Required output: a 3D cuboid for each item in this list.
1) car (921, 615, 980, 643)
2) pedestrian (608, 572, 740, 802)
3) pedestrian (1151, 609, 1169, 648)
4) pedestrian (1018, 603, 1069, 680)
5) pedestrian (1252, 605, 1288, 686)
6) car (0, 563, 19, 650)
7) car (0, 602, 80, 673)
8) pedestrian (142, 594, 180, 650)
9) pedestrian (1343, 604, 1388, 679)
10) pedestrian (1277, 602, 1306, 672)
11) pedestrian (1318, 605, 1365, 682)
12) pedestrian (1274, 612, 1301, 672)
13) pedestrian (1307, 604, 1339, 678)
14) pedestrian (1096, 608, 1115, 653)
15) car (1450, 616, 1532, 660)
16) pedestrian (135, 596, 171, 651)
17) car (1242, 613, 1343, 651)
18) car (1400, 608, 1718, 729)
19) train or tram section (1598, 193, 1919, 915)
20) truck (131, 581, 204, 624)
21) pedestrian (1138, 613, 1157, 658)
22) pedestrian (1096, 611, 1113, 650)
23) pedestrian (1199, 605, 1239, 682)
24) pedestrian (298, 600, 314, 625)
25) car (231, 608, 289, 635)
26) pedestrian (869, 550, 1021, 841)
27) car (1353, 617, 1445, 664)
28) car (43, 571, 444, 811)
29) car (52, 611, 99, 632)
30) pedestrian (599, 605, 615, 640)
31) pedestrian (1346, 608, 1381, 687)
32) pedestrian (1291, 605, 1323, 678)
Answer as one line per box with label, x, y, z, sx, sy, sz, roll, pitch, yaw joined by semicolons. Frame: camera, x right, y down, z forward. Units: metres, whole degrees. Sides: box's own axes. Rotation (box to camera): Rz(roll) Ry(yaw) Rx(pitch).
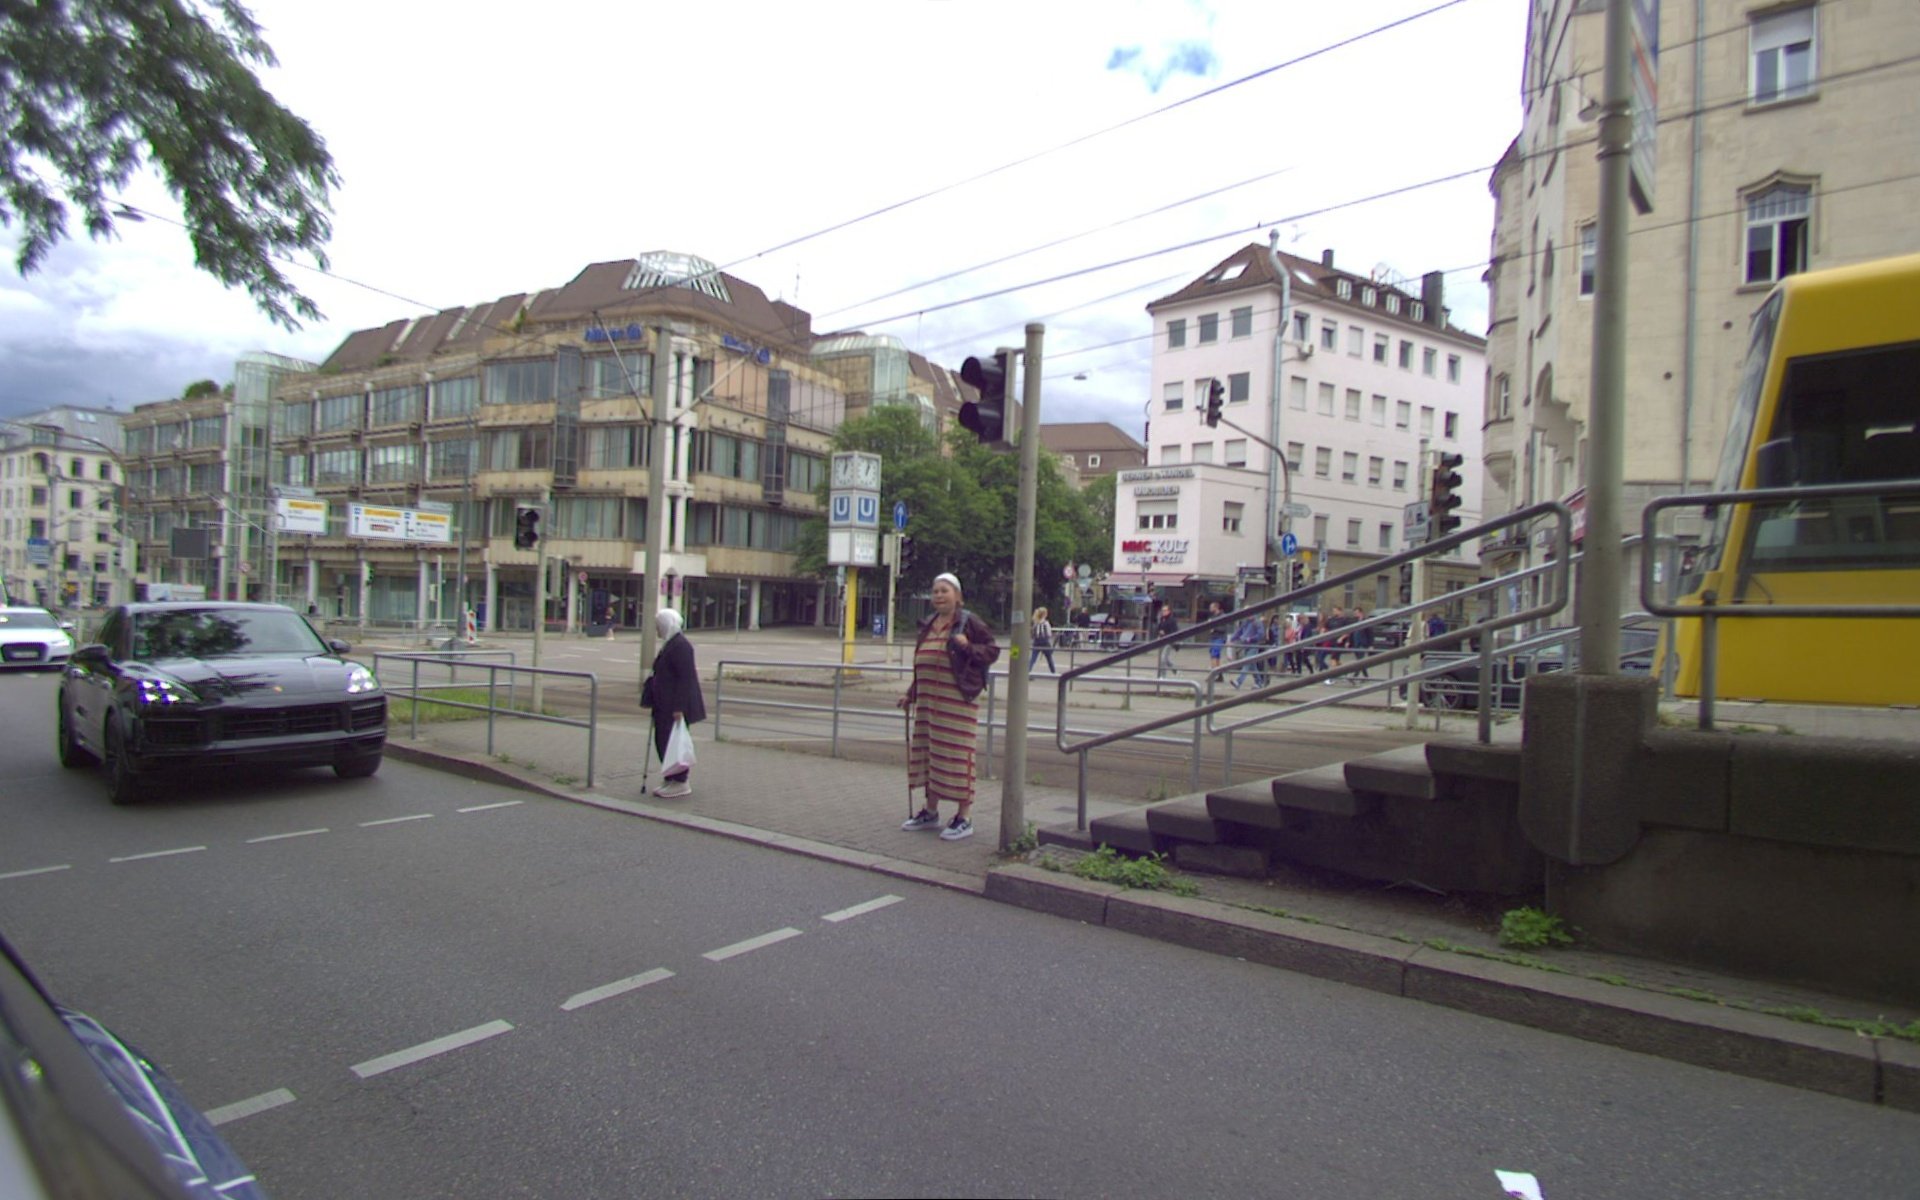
car;-0.515;1.662;59.479;1.940;1.542;3.967;0;0;25
pedestrian;-2.293;0.661;8.101;0.871;1.724;0.629;-1;-2;40
pedestrian;9.197;1.305;46.581;0.503;1.793;0.600;1;-1;-38
pedestrian;1.894;0.927;23.047;0.862;1.718;0.815;1;-1;-21
pedestrian;6.969;1.012;22.727;0.503;1.793;0.578;1;-1;-35
car;-33.430;0.195;33.763;5.935;2.780;2.253;0;0;40
car;-22.443;0.822;23.792;3.995;1.542;1.926;0;0;38
pedestrian;-25.238;0.688;31.977;0.772;1.734;0.784;0;-1;40
pedestrian;9.404;0.951;23.483;0.664;1.690;0.693;1;-1;-32
pedestrian;8.690;0.959;26.530;0.568;1.793;0.512;2;-1;-45
pedestrian;9.062;1.029;24.042;0.777;1.793;0.670;1;-1;-19
pedestrian;8.818;1.117;27.254;0.511;1.594;0.569;0;-1;43
pedestrian;8.876;0.991;24.730;0.577;1.793;0.504;0;-1;43
pedestrian;5.761;1.199;40.086;0.503;1.793;0.578;1;-1;-38
car;23.080;1.644;43.966;3.720;1.759;1.641;4;-3;-35
pedestrian;-25.858;0.753;32.437;0.637;1.734;0.757;0;-1;40
car;14.767;1.386;44.863;4.437;1.572;1.760;0;0;-31
car;9.251;0.948;15.800;3.999;1.586;1.887;0;0;42
train or tram section;6.952;-0.252;5.296;5.748;3.707;2.806;-1;-1;41
truck;-61.768;0.164;78.830;7.355;3.099;2.248;1;-3;34
pedestrian;7.584;1.418;40.912;0.567;1.793;0.513;1;-1;-24
pedestrian;6.727;1.400;46.996;0.503;1.793;0.578;1;-1;-38
pedestrian;6.139;1.012;23.983;0.700;1.793;0.597;1;-1;-34
pedestrian;-47.981;0.936;74.253;0.738;1.825;0.724;0;0;35
car;-47.913;1.439;69.215;4.769;1.772;1.660;0;0;34
pedestrian;-0.091;0.574;6.493;0.711;1.724;0.678;-1;-2;40
car;17.299;1.607;39.850;3.720;1.697;1.641;4;-3;-35
car;-7.074;0.676;9.705;5.351;1.688;2.060;-1;-1;43
car;-69.434;1.668;79.419;4.523;1.564;1.643;0;-1;34
pedestrian;-18.282;1.185;52.413;0.577;1.793;0.504;0;-1;43
pedestrian;9.359;1.087;23.477;0.502;1.793;0.579;1;-1;-19
pedestrian;8.672;1.036;25.298;0.504;1.793;0.577;2;-1;-43
